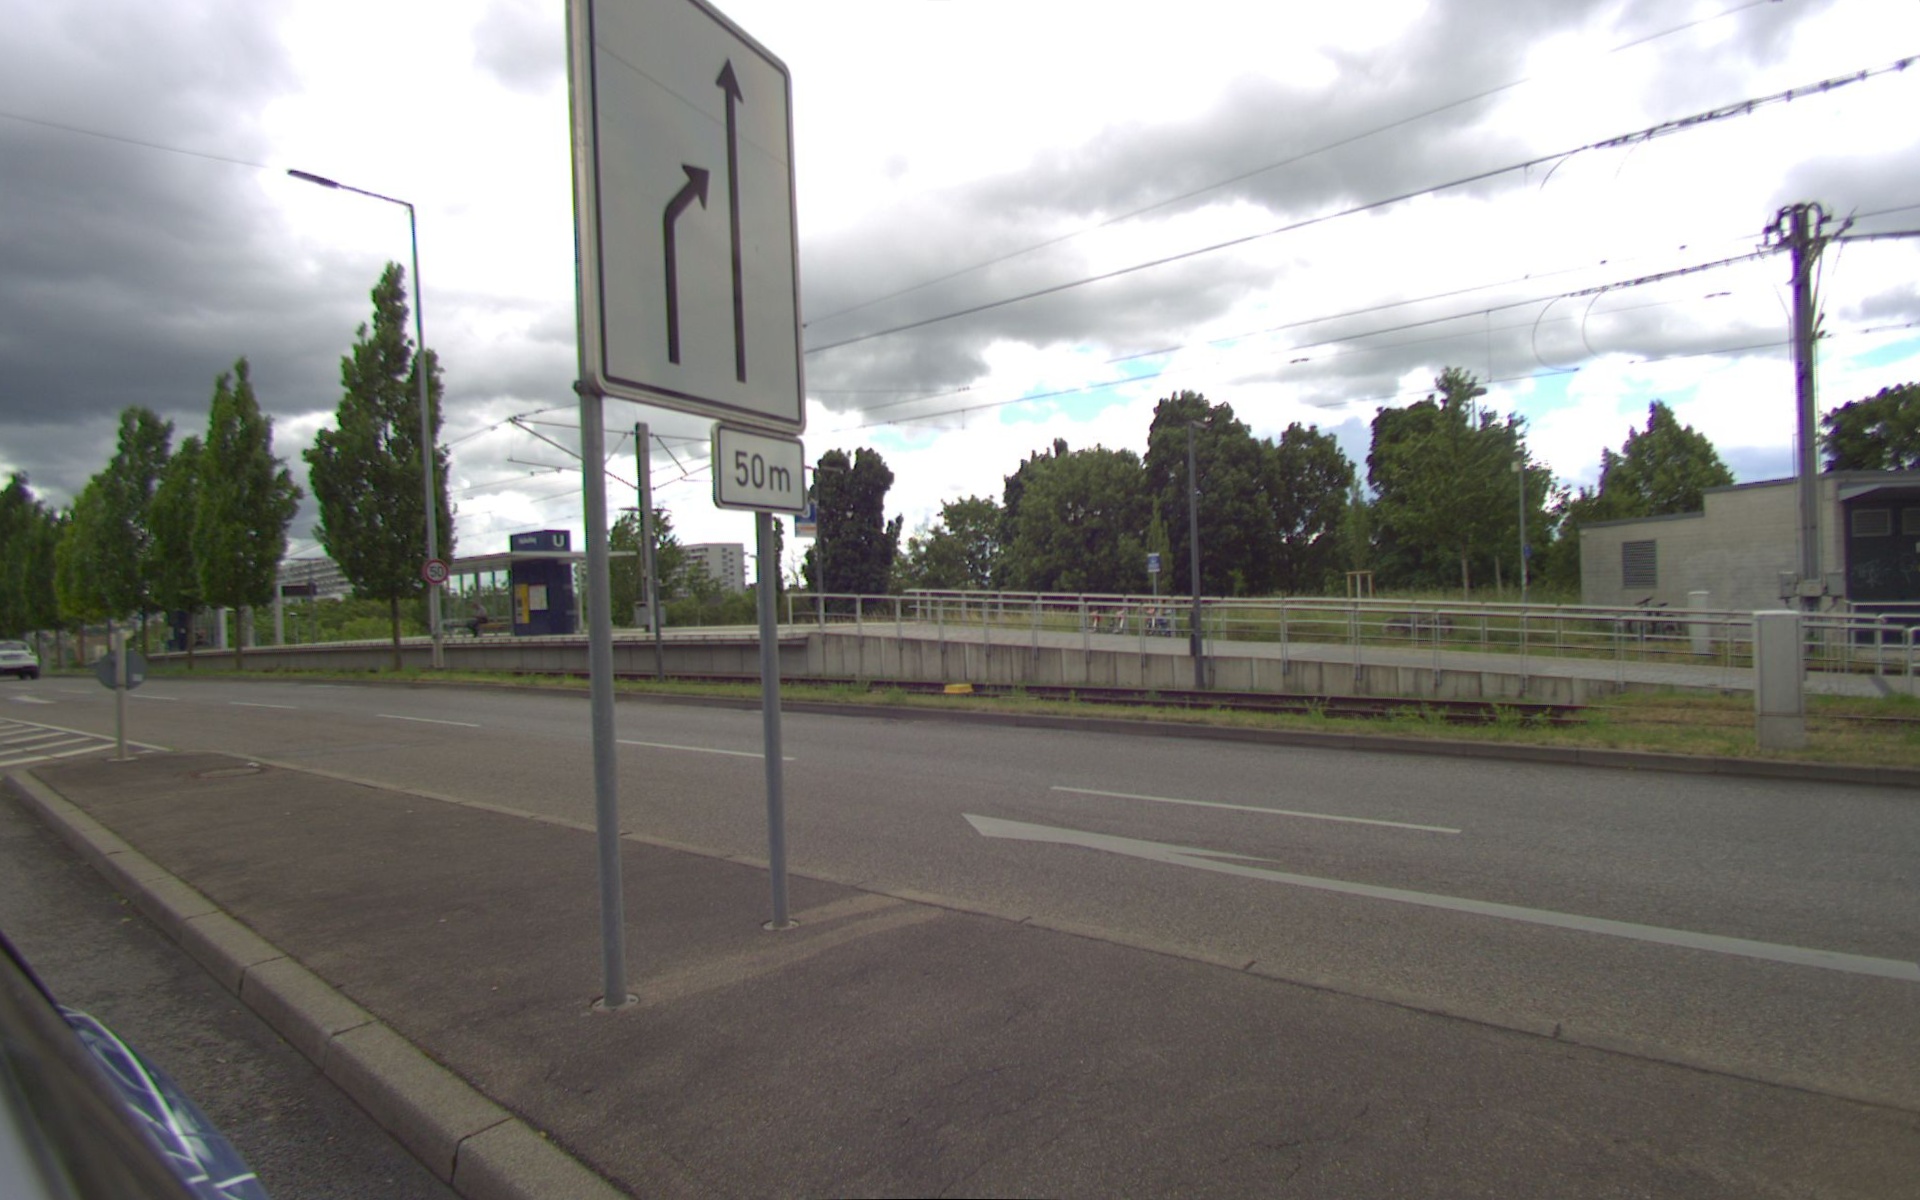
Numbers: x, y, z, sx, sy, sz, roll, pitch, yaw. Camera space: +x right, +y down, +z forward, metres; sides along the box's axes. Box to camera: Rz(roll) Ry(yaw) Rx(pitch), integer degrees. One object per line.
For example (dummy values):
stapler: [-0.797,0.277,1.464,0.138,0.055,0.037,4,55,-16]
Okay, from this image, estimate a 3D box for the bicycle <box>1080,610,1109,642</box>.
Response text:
bicycle: [4.678,0.894,35.151,0.490,1.095,1.466,-2,-1,30]

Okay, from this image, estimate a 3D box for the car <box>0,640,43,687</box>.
car: [-37.946,2.571,40.042,4.421,1.641,1.811,-7,-4,39]

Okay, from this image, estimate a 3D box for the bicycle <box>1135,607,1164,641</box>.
bicycle: [6.375,0.802,33.938,0.490,1.095,1.466,-2,-1,30]

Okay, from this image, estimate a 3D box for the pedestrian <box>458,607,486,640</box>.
pedestrian: [-18.256,0.870,37.863,0.781,1.211,0.656,-2,-1,33]

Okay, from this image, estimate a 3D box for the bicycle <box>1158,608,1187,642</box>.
bicycle: [7.041,0.809,33.458,0.490,1.095,1.466,-2,-1,30]

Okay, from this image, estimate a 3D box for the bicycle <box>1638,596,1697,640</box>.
bicycle: [18.189,0.452,26.050,0.486,1.095,1.480,-1,-1,3]

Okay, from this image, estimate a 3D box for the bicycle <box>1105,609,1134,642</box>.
bicycle: [5.435,0.861,34.449,0.490,1.095,1.466,-2,-1,30]
